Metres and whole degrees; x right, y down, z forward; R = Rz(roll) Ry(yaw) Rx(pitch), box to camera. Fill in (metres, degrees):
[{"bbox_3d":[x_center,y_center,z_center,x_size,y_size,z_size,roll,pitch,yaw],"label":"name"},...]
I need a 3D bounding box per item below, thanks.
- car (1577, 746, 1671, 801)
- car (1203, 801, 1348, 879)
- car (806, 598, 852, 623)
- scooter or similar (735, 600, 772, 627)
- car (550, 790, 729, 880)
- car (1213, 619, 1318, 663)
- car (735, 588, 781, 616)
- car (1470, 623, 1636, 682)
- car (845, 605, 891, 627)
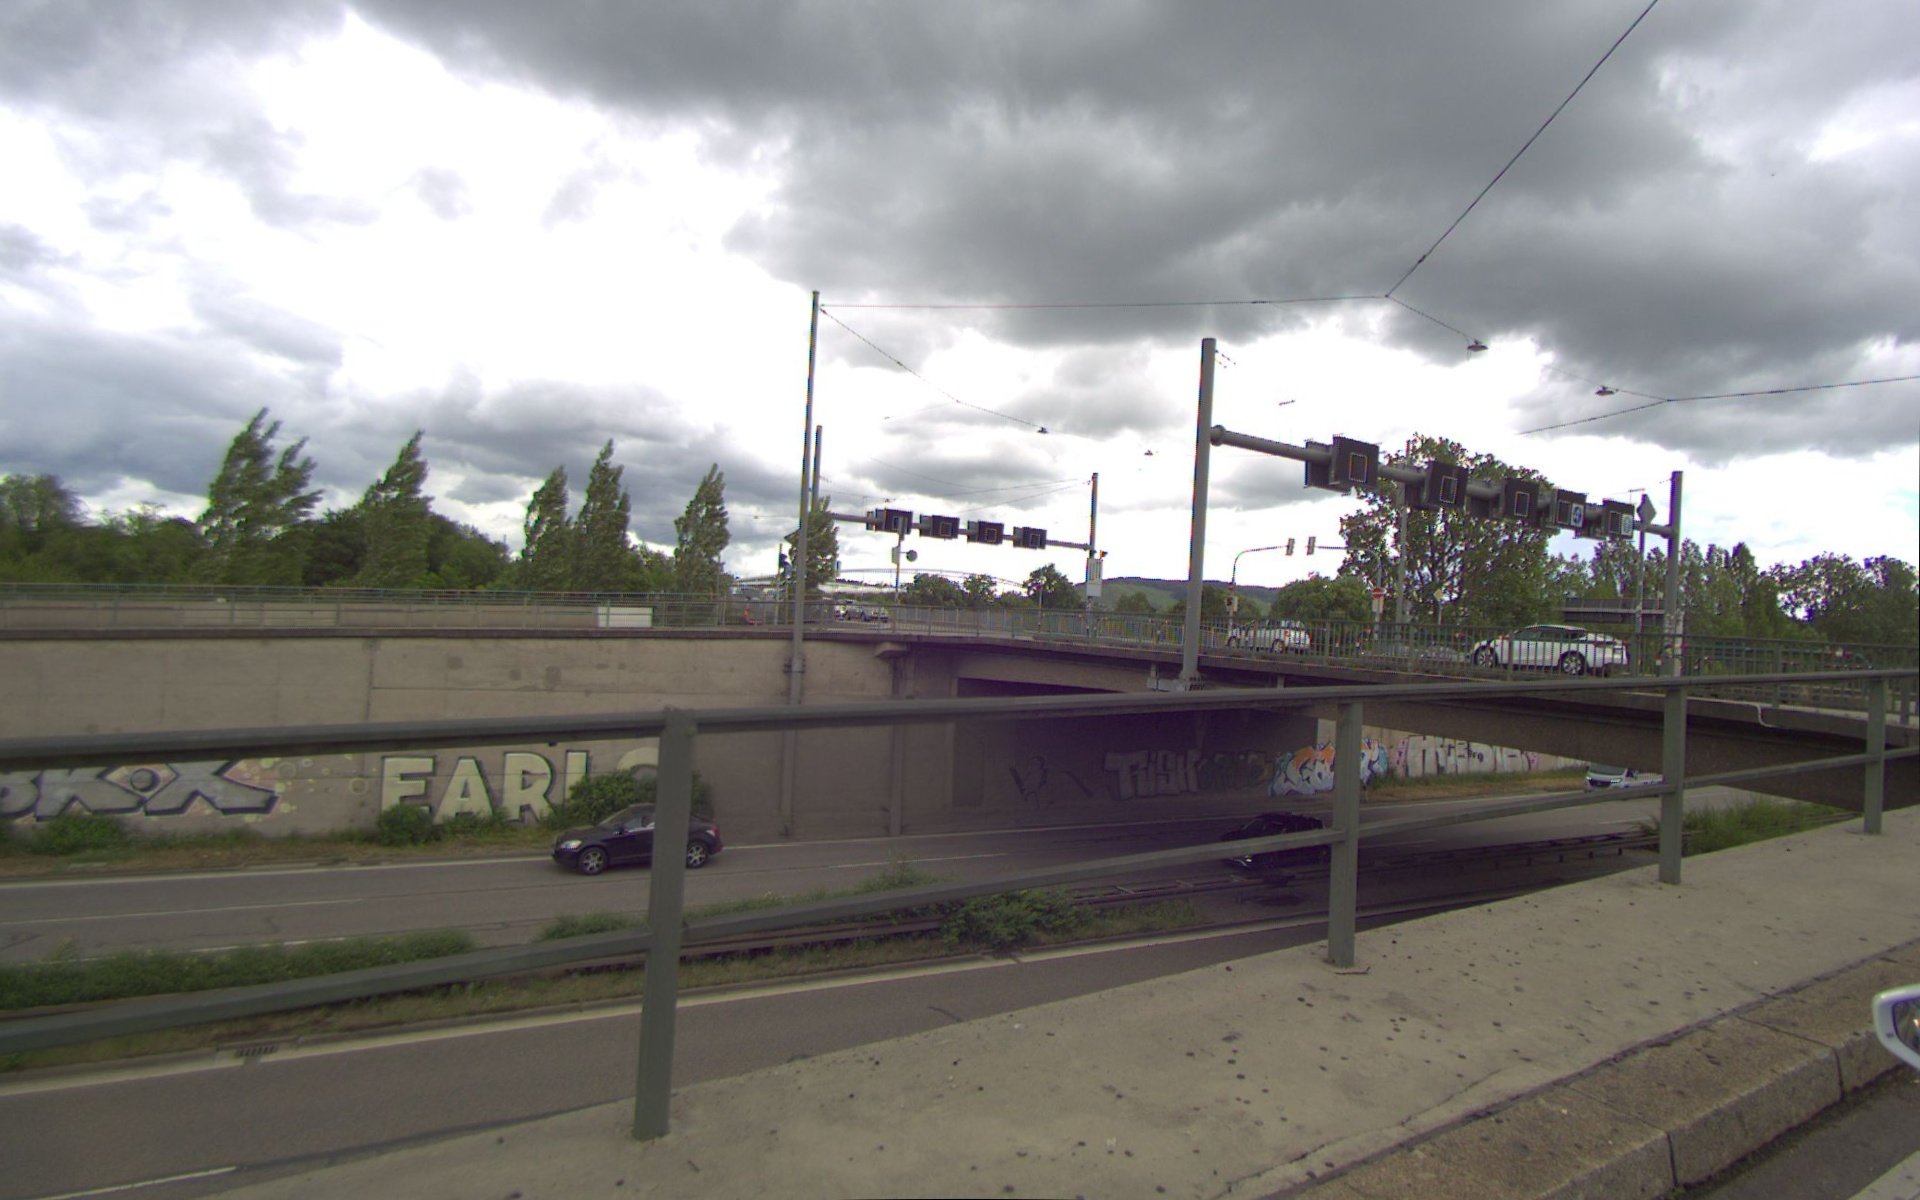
[{"bbox_3d":[37.314,9.673,56.348,6.263,2.567,2.071,4,-3,-33],"label":"car"},{"bbox_3d":[10.094,7.570,32.031,4.374,1.865,1.984,5,-4,-30],"label":"car"},{"bbox_3d":[-8.528,0.655,65.191,1.560,1.587,3.715,1,0,-31],"label":"car"},{"bbox_3d":[-8.897,0.572,43.294,1.402,1.108,0.539,3,-2,-34],"label":"scooter or similar"},{"bbox_3d":[-8.897,6.448,27.937,4.360,1.865,1.921,4,-2,-30],"label":"car"},{"bbox_3d":[12.949,1.699,42.749,1.918,1.740,3.962,1,-1,-34],"label":"car"},{"bbox_3d":[-14.939,0.162,74.188,1.711,2.040,4.443,1,0,-35],"label":"car"},{"bbox_3d":[19.464,1.655,33.169,1.916,1.740,4.368,1,-1,-31],"label":"car"},{"bbox_3d":[-6.127,1.056,66.398,1.537,1.372,3.860,1,-1,-31],"label":"car"}]
